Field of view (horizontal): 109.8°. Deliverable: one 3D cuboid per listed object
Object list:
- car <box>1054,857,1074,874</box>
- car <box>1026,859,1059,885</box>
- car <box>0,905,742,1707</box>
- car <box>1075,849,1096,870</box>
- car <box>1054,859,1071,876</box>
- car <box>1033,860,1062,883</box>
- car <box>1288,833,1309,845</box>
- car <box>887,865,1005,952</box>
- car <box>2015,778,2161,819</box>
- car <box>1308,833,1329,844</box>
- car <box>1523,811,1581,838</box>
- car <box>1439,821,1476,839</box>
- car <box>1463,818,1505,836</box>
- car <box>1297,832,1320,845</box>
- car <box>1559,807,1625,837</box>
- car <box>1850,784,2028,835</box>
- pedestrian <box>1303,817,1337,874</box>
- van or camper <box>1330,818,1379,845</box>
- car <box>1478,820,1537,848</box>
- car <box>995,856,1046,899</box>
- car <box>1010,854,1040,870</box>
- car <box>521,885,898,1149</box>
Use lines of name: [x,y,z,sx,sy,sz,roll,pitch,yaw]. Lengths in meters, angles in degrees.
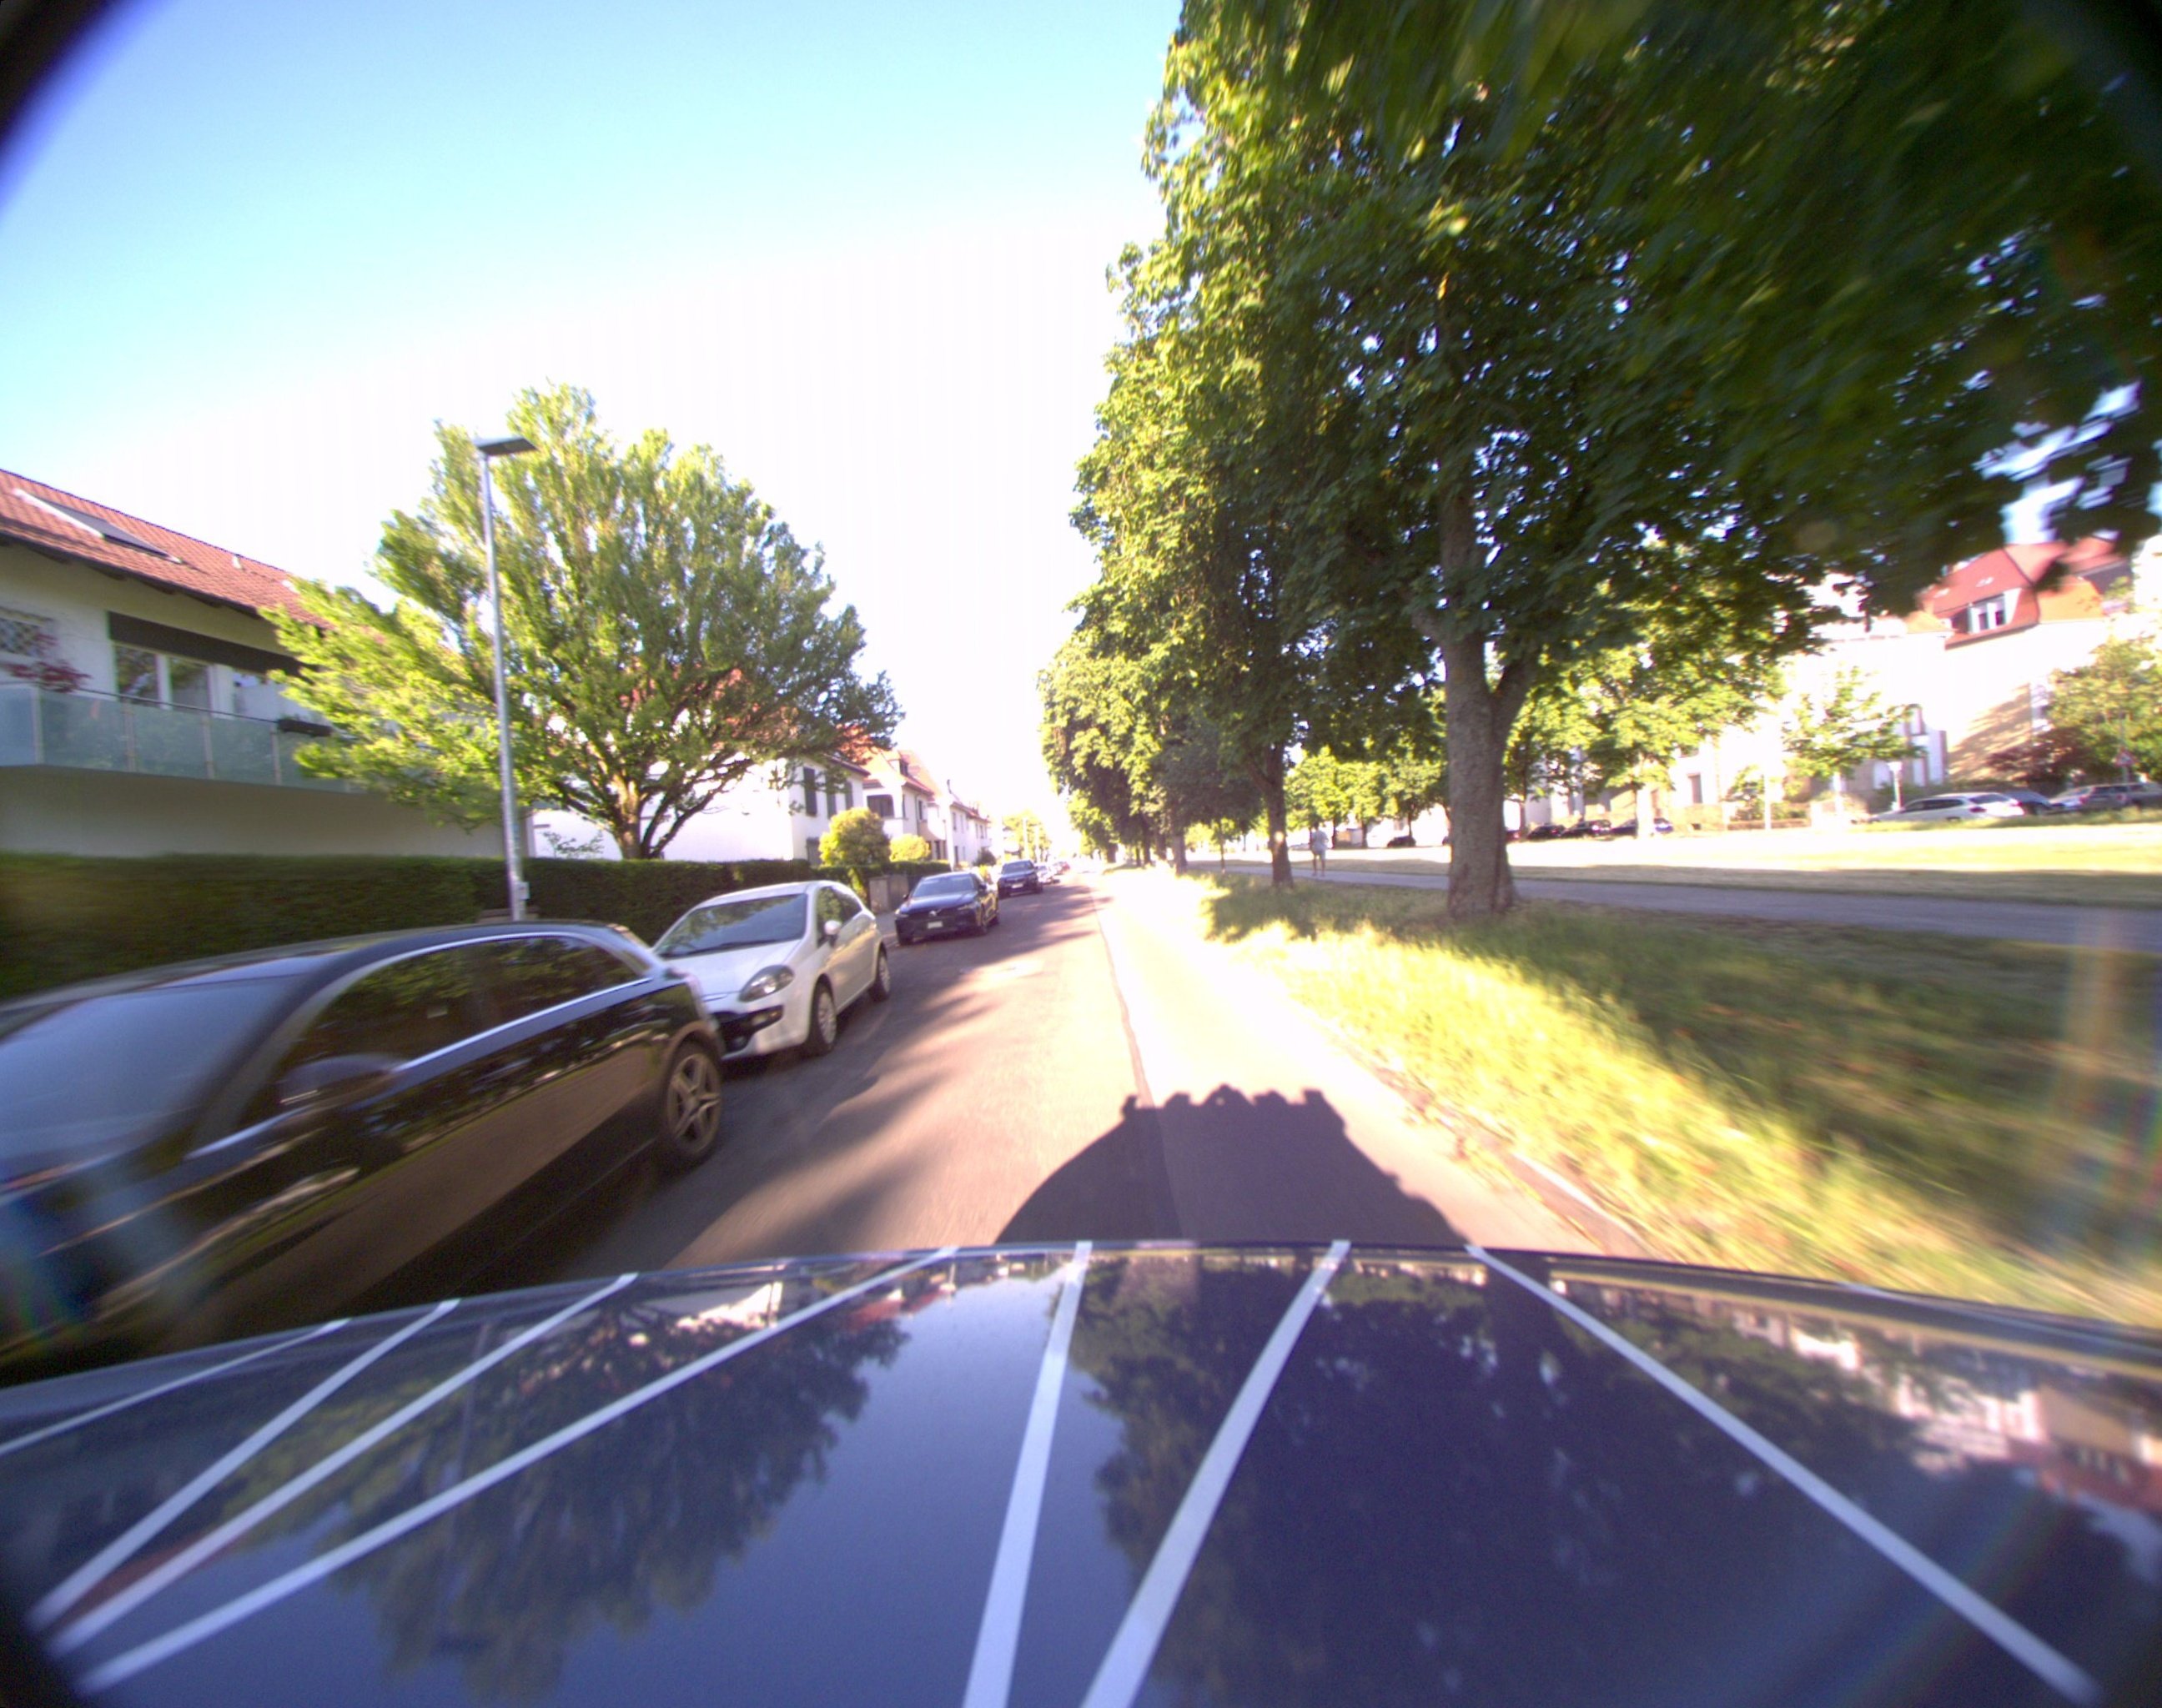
car: [-1.757,1.161,77.281,1.784,1.490,4.397,-7,0,-1]
car: [-2.542,1.151,51.190,1.784,1.454,4.593,-7,0,0]
car: [-2.887,1.115,2.340,1.753,1.468,4.287,-6,0,-2]
car: [0.496,0.579,81.822,1.998,2.002,4.000,-5,0,1]
car: [-2.280,1.686,95.090,1.863,1.710,4.467,-9,0,-1]
car: [-2.549,1.329,58.806,1.999,1.455,4.549,-8,0,-2]
car: [35.059,-2.353,122.531,1.998,1.680,4.876,-4,0,1]
car: [-2.954,1.139,17.643,1.798,1.483,4.673,-5,1,0]
car: [53.539,-2.915,40.420,4.866,1.598,2.189,-5,0,1]
car: [41.242,-2.639,132.042,1.999,1.680,4.875,-4,0,-2]
car: [40.009,-2.459,64.633,1.999,2.002,4.428,-4,0,-1]
car: [40.188,-2.553,81.230,1.998,1.724,4.001,-4,0,2]
car: [40.527,-2.707,76.537,1.998,1.421,4.170,-5,0,2]
car: [34.969,-2.376,116.920,1.998,1.680,4.876,-4,0,1]
car: [40.129,-2.473,59.831,1.998,2.002,4.876,-4,0,2]
car: [34.122,-1.695,30.465,1.824,1.630,4.650,-5,0,0]
pedestrian: [7.666,-0.273,24.405,0.726,1.747,0.993,-4,0,7]
van or camper: [34.762,-2.805,97.010,3.262,3.092,7.896,-4,0,1]
car: [34.415,-1.609,61.486,1.998,2.002,4.876,-4,0,2]
car: [-2.886,1.088,37.496,1.999,1.727,4.863,-7,0,-1]
car: [-7.877,1.177,106.666,3.998,1.917,1.999,-4,0,-3]
car: [-3.063,1.217,7.297,1.696,1.474,3.928,-8,0,-3]
